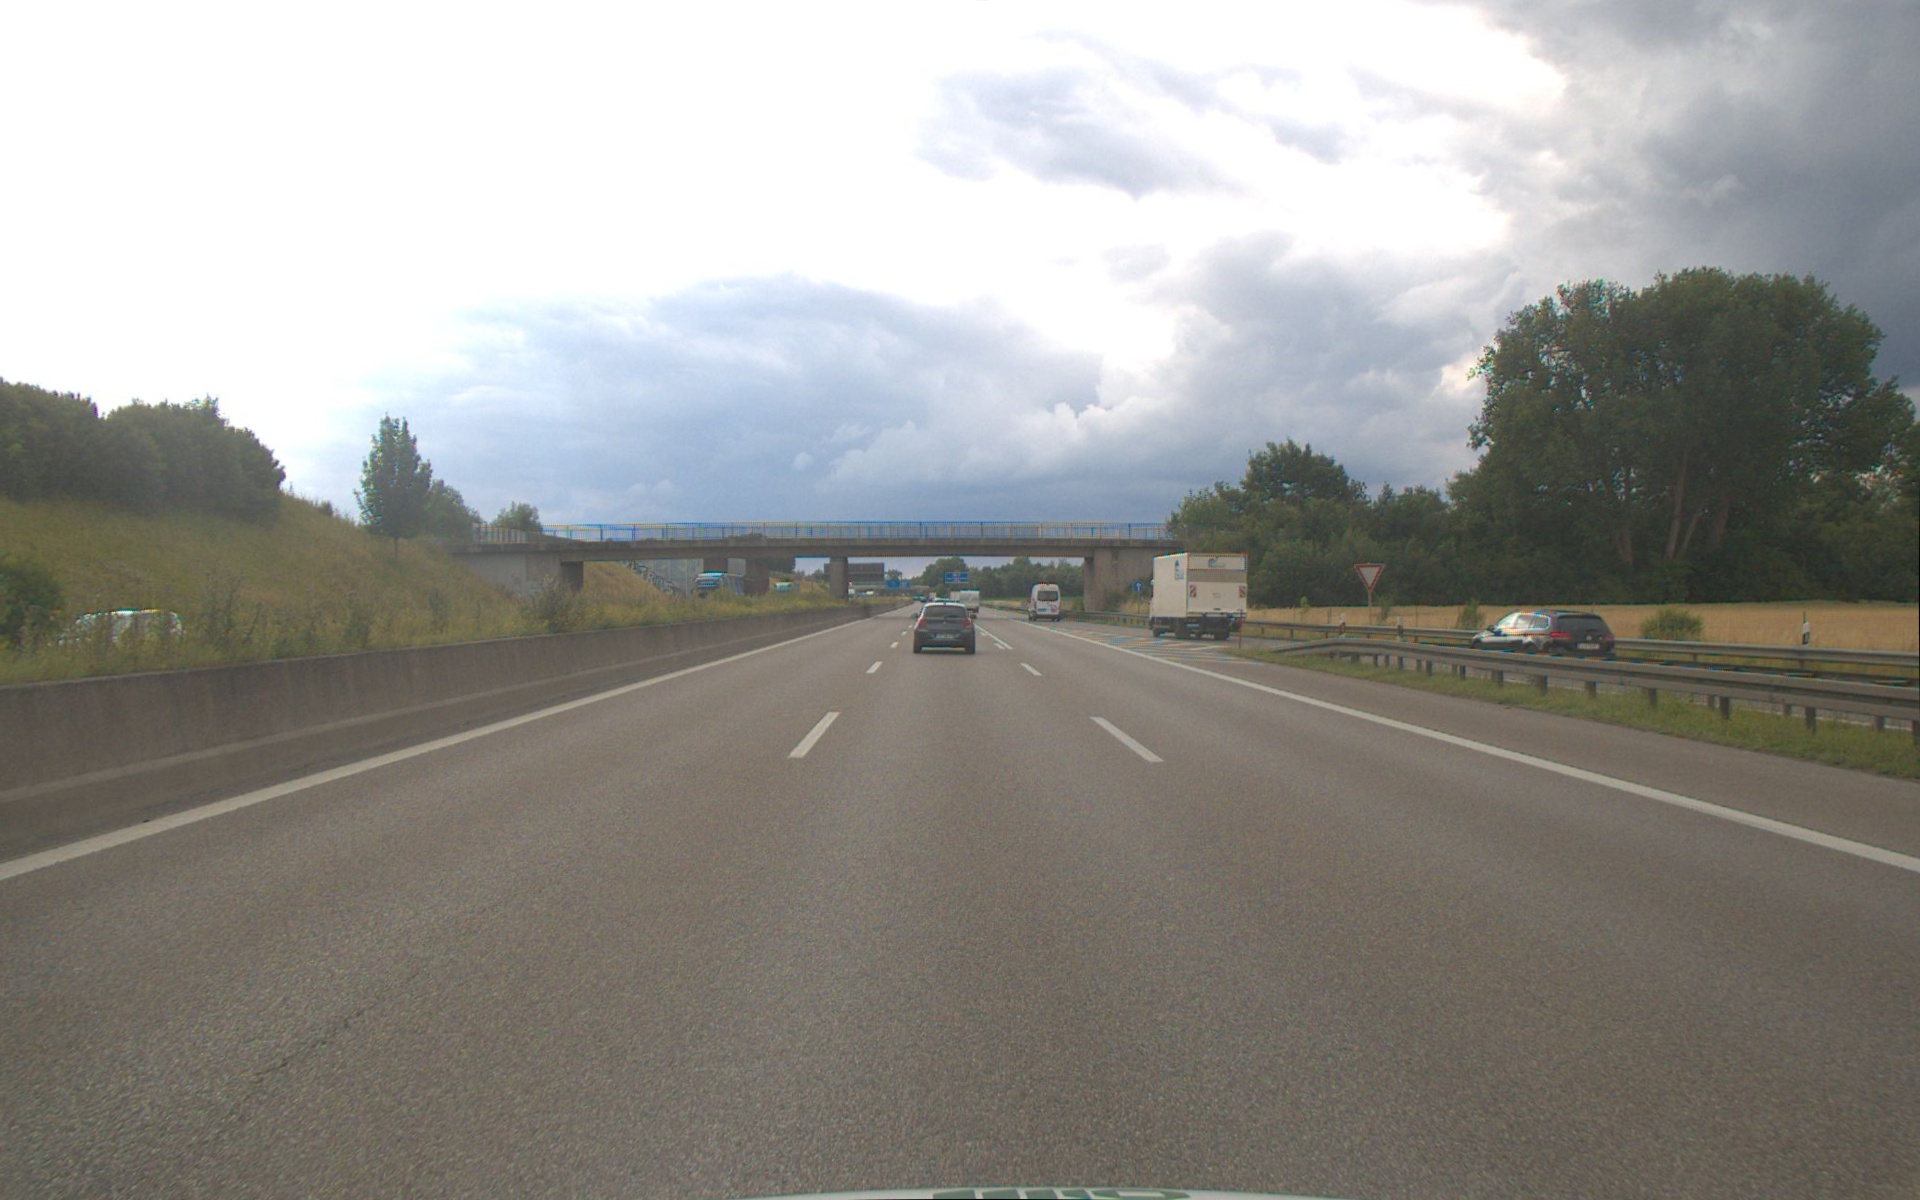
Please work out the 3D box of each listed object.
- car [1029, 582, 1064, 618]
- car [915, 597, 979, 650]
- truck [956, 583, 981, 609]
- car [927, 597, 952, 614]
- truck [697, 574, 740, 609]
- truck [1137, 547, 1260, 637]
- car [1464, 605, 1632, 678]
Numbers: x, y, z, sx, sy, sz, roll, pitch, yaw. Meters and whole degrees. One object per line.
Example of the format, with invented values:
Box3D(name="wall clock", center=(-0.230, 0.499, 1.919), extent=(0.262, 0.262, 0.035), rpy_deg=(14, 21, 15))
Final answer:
Box3D(name="car", center=(6.355, 0.005, 122.657), extent=(2.176, 2.613, 6.255), rpy_deg=(0, 0, -1))
Box3D(name="car", center=(-0.383, 0.644, 47.151), extent=(1.708, 1.413, 3.999), rpy_deg=(1, 0, -1))
Box3D(name="truck", center=(0.977, -0.448, 197.444), extent=(2.655, 3.016, 12.443), rpy_deg=(1, 0, -1))
Box3D(name="car", center=(-1.656, 0.442, 131.273), extent=(1.953, 1.321, 3.999), rpy_deg=(-1, 0, -2))
Box3D(name="truck", center=(-21.350, -0.715, 146.383), extent=(2.851, 2.998, 6.114), rpy_deg=(1, 0, -1))
Box3D(name="truck", center=(10.075, -0.297, 70.834), extent=(3.045, 3.531, 8.879), rpy_deg=(2, 0, -6))
Box3D(name="car", center=(13.878, 0.927, 39.369), extent=(1.880, 1.577, 4.918), rpy_deg=(-1, 0, -5))
